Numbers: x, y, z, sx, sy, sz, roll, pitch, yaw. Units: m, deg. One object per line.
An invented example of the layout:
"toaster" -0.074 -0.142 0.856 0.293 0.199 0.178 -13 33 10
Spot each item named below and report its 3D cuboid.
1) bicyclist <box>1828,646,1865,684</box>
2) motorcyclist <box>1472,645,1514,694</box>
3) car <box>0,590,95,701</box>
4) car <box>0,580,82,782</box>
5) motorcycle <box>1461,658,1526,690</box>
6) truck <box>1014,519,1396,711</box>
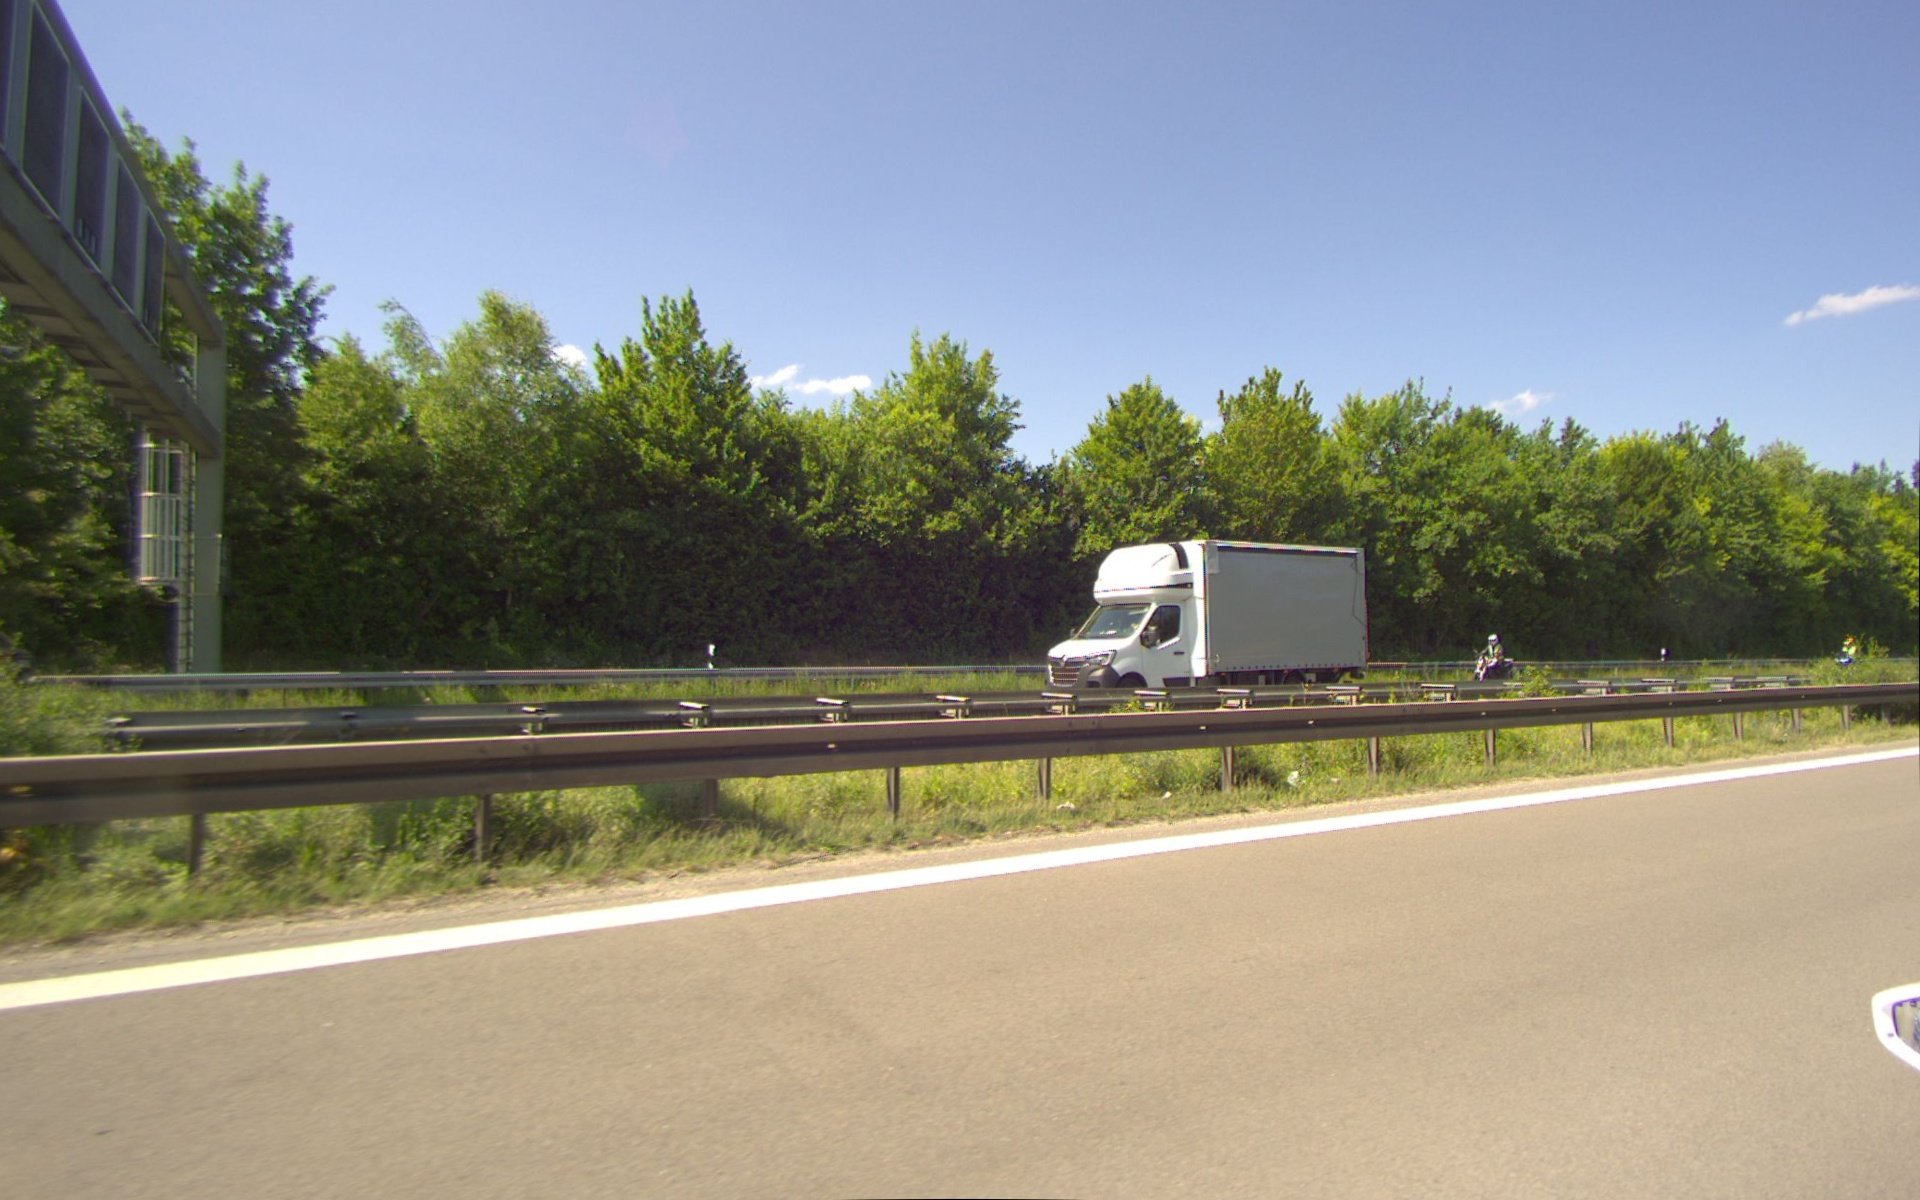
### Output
"bicyclist" 39.097 2.867 44.313 1.272 1.597 0.876 3 -2 -30
"motorcyclist" 17.053 2.218 32.128 0.921 1.519 0.802 2 -2 -30
"car" -14.978 0.550 13.294 5.008 1.484 1.893 3 -3 -31
"car" -9.856 0.614 7.970 4.013 1.639 1.770 2 -2 -30
"motorcycle" 17.097 2.375 32.163 2.196 0.958 0.802 3 -2 -30
"truck" 5.218 0.487 20.687 7.967 3.348 2.765 4 -2 -31
